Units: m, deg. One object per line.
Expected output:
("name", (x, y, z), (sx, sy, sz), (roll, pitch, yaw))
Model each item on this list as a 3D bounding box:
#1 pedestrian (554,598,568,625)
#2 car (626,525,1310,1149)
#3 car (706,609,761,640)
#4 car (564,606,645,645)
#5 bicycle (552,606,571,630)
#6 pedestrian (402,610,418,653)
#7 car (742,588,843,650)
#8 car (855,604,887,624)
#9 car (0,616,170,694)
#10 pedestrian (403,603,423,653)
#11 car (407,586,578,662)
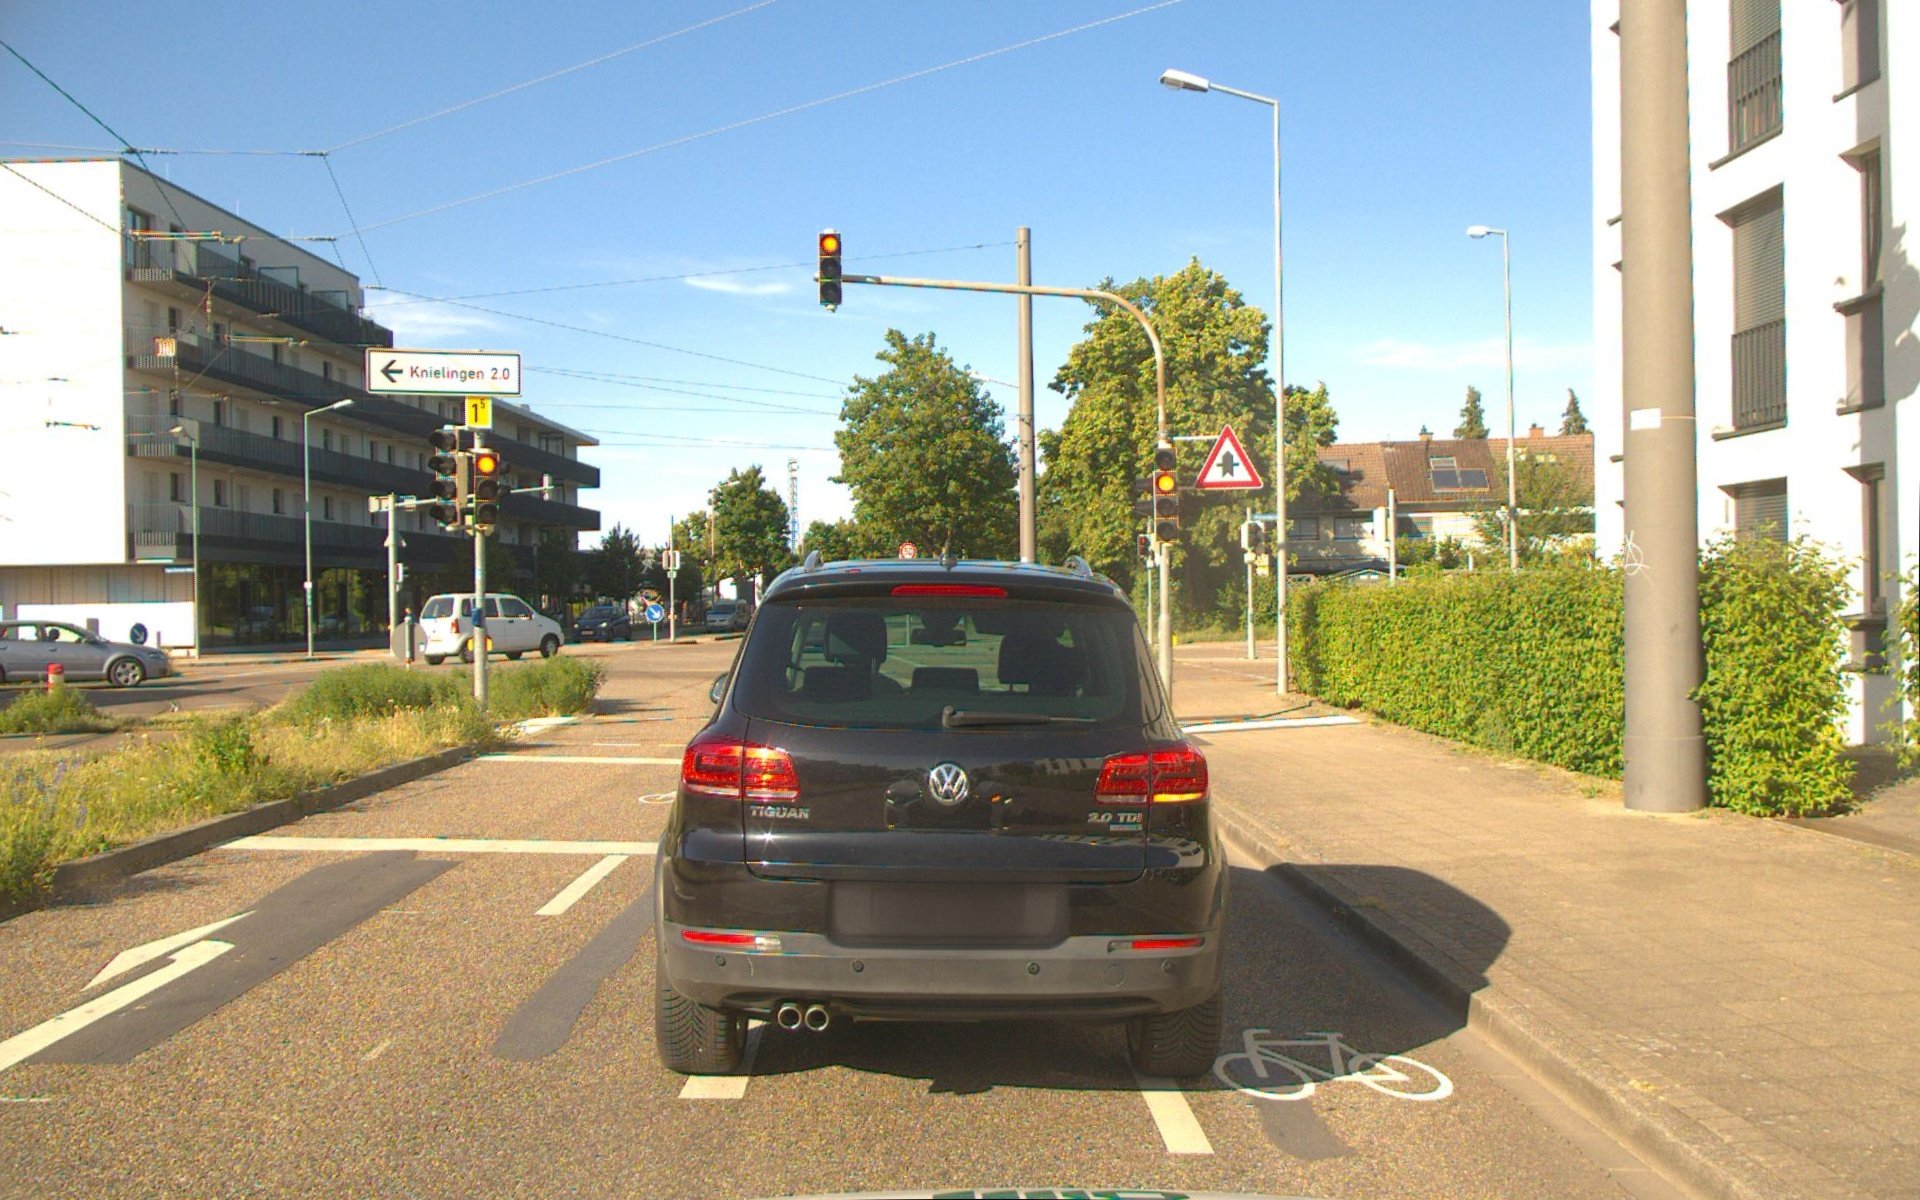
("pedestrian", (-23.182, 0.667, 96.067), (0.629, 1.535, 0.596), (1, -1, -1))
("car", (-0.002, 0.652, 6.485), (1.831, 1.666, 3.999), (1, 0, -1))
("car", (-12.347, 1.308, 90.404), (1.951, 1.601, 4.342), (1, 0, 7))
("car", (-15.240, 1.079, 71.187), (1.951, 1.601, 4.343), (1, 0, 9))
("bicycle", (-23.182, 1.031, 96.210), (0.617, 1.355, 1.913), (1, 0, 0))
("pedestrian", (-19.381, 1.108, 58.286), (0.433, 1.529, 0.517), (1, -1, -6))
("car", (-5.382, 0.583, 52.763), (1.969, 1.869, 3.967), (1, 0, -26))
("car", (-7.428, 1.152, 138.240), (1.951, 1.601, 4.342), (1, 0, 7))
("car", (-18.863, 1.136, 34.630), (4.054, 1.511, 1.851), (-1, 0, -30))
("pedestrian", (-19.465, 0.992, 58.830), (0.532, 1.774, 0.517), (1, -1, -6))
("car", (-11.419, 0.556, 40.556), (1.835, 1.750, 3.668), (0, 0, 40))
